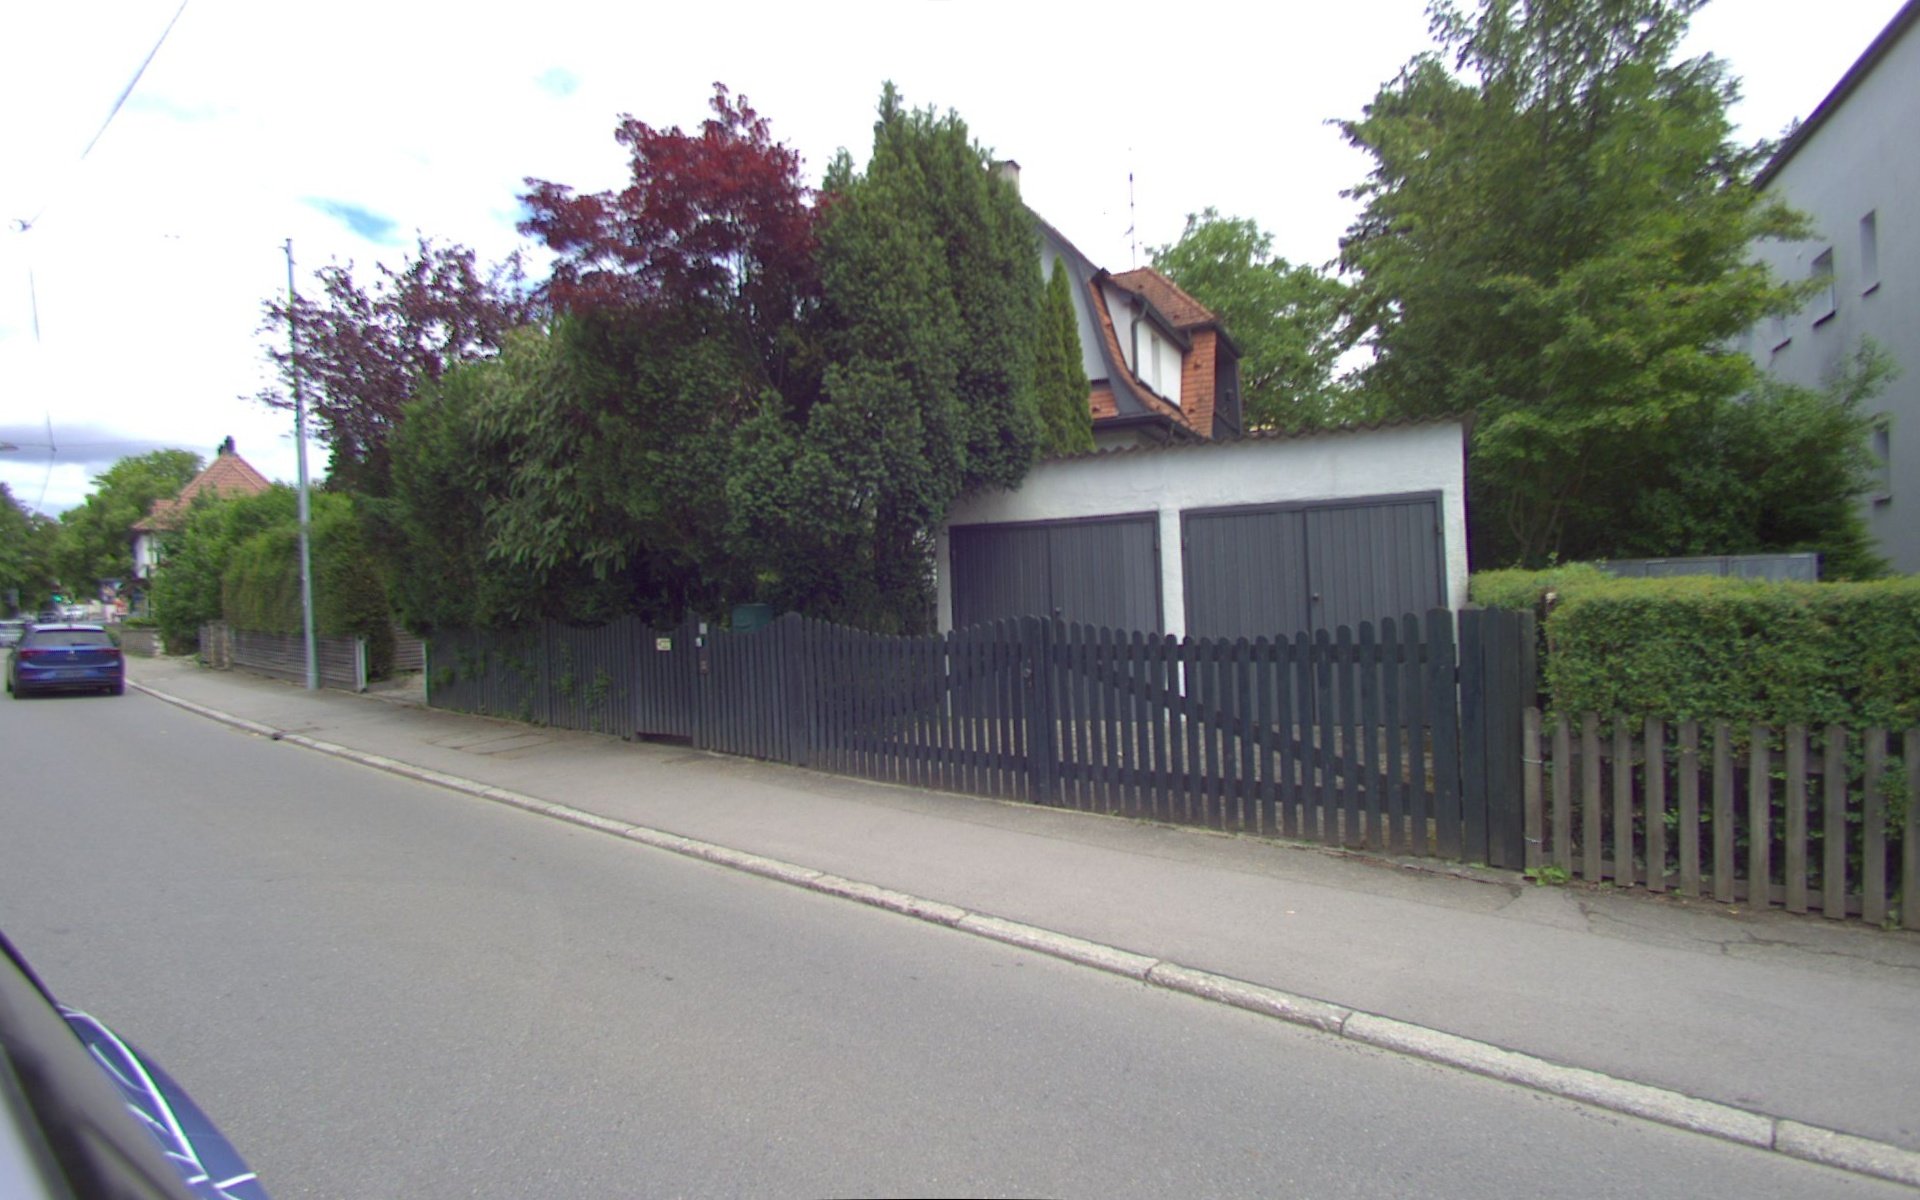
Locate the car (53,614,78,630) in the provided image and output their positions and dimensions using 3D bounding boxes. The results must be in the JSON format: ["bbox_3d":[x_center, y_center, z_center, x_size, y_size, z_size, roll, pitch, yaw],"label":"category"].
[{"bbox_3d":[-107.002,2.614,121.036,1.971,1.709,4.003,-5,3,-44],"label":"car"}]

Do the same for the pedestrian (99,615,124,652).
[{"bbox_3d":[-42.617,1.672,50.835,0.810,1.757,0.605,-5,3,-43],"label":"pedestrian"}]

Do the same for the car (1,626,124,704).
[{"bbox_3d":[-18.619,1.279,20.946,1.674,1.443,3.930,2,-3,-44],"label":"car"}]

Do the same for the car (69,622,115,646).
[{"bbox_3d":[-56.488,2.190,65.893,1.794,1.361,3.401,-4,3,-33],"label":"car"}]

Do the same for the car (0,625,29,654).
[{"bbox_3d":[-58.582,2.396,62.114,4.139,1.668,1.820,-1,-2,44],"label":"car"}]

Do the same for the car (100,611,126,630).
[{"bbox_3d":[-99.864,2.378,119.294,1.859,1.929,4.836,-8,5,-44],"label":"car"}]
